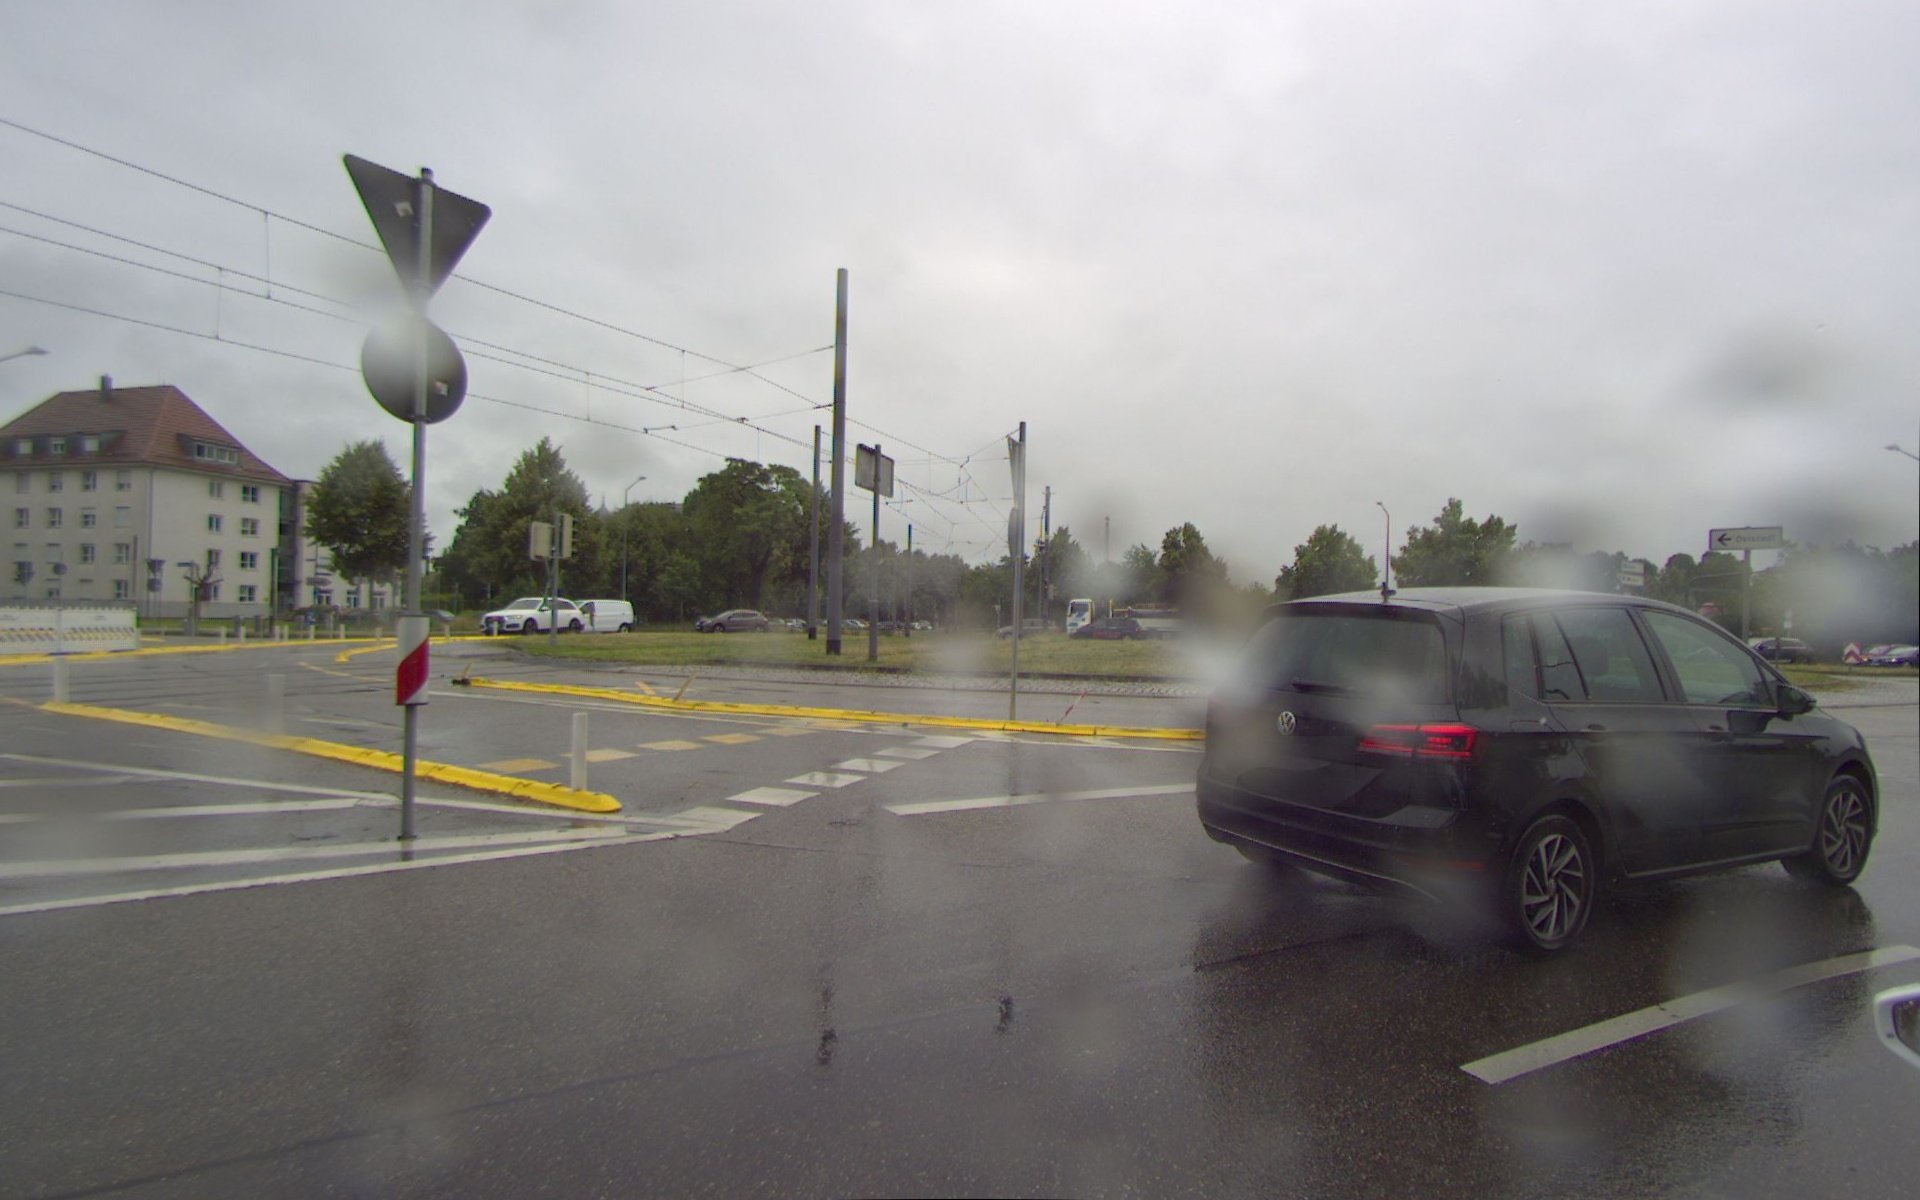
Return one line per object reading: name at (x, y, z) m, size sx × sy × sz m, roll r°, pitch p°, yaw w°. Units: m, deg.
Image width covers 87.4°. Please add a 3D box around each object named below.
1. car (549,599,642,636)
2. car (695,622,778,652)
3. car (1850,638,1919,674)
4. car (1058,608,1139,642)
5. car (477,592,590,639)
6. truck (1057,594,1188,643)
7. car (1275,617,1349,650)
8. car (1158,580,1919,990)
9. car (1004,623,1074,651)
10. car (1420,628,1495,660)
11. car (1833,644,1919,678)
car at (-18.651, 0.929, 51.593) m, size 1.804 × 1.746 × 4.153 m, roll 3°, pitch 0°, yaw 35°
car at (-13.177, 2.213, 59.355) m, size 4.494 × 1.511 × 1.599 m, roll 3°, pitch 0°, yaw -29°
car at (48.950, 2.940, 51.689) m, size 4.307 × 1.669 × 1.789 m, roll 3°, pitch 0°, yaw 20°
car at (8.415, 1.505, 61.229) m, size 4.768 × 1.767 × 1.779 m, roll 3°, pitch 0°, yaw 6°
car at (-17.749, 0.643, 42.122) m, size 1.742 × 1.767 × 4.869 m, roll 3°, pitch 0°, yaw 13°
truck at (11.164, 1.236, 69.043) m, size 8.620 × 2.747 × 2.001 m, roll 3°, pitch 0°, yaw 14°
car at (20.401, 1.920, 58.343) m, size 3.921 × 1.669 × 1.789 m, roll 3°, pitch 0°, yaw 19°
car at (3.356, 0.741, 5.591) m, size 4.279 × 1.537 × 1.776 m, roll 1°, pitch 0°, yaw -29°
car at (5.166, 2.454, 66.171) m, size 4.458 × 1.511 × 1.612 m, roll 3°, pitch 0°, yaw 3°
car at (31.046, 2.714, 62.762) m, size 3.921 × 1.669 × 1.789 m, roll 3°, pitch 0°, yaw 19°
car at (54.327, 3.602, 58.979) m, size 4.164 × 1.669 × 1.790 m, roll 3°, pitch 0°, yaw 12°
